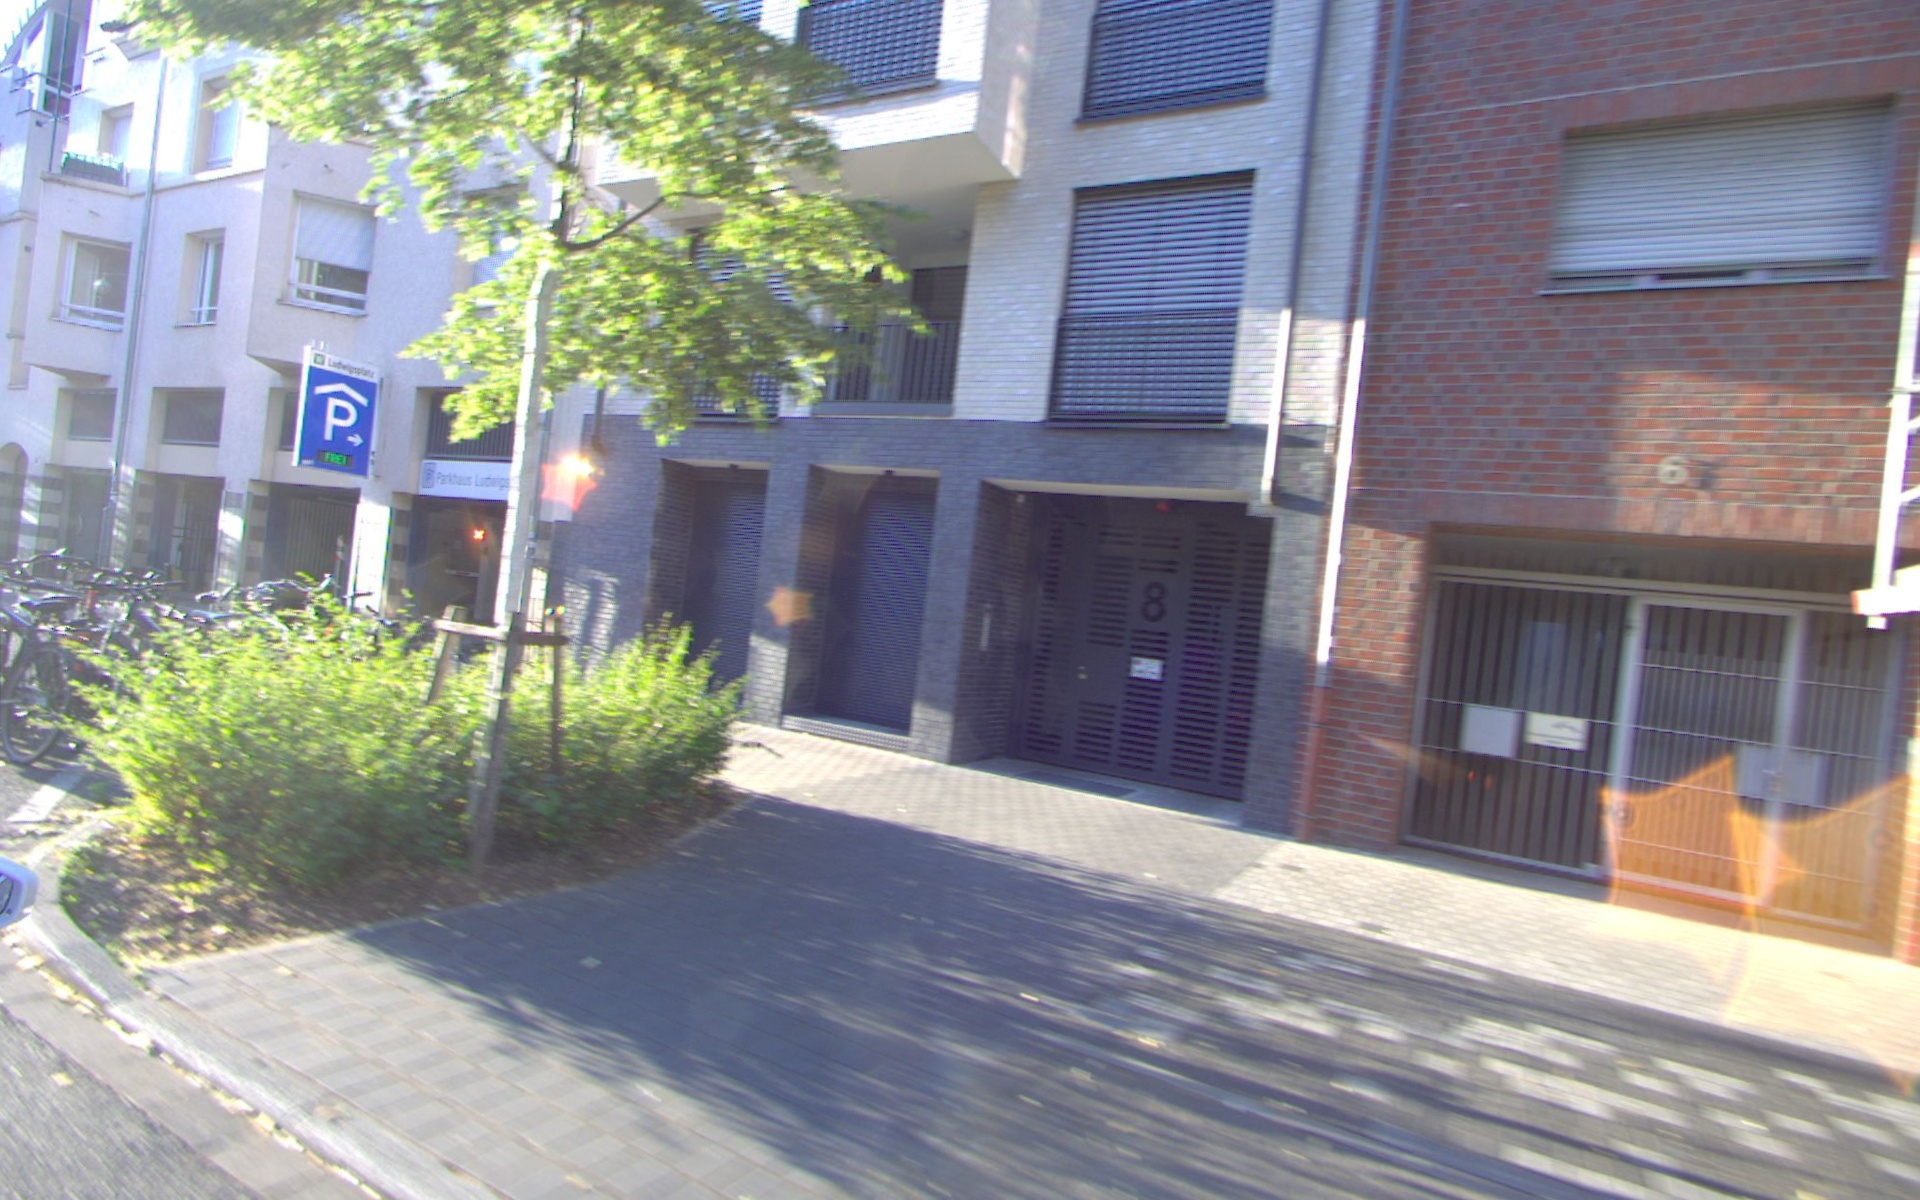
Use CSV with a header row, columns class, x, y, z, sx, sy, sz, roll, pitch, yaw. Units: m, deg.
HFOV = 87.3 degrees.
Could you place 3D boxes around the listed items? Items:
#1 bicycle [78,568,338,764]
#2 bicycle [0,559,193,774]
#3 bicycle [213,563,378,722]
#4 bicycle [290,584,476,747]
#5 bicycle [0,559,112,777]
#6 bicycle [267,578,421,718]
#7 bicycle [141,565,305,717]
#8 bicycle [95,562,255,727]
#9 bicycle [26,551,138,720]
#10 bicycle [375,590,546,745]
class,x,y,z,sx,sy,sz,roll,pitch,yaw
bicycle,-5.103,0.433,6.837,1.494,1.114,0.383,7,0,8
bicycle,-5.528,0.387,6.343,1.496,1.114,0.382,8,1,26
bicycle,-5.857,0.357,8.850,1.496,1.203,0.383,6,-1,26
bicycle,-4.696,0.508,8.172,1.495,1.114,0.383,7,0,22
bicycle,-5.679,0.340,5.938,1.496,1.114,0.382,6,0,26
bicycle,-5.717,0.426,9.319,1.496,1.113,0.382,6,0,26
bicycle,-6.322,0.336,8.613,1.496,1.113,0.383,6,-1,26
bicycle,-6.272,0.328,8.017,1.539,1.114,0.382,6,0,30
bicycle,-6.743,0.242,7.704,1.502,1.121,0.370,6,0,41
bicycle,-4.313,0.558,8.655,1.496,1.114,0.382,6,0,26
